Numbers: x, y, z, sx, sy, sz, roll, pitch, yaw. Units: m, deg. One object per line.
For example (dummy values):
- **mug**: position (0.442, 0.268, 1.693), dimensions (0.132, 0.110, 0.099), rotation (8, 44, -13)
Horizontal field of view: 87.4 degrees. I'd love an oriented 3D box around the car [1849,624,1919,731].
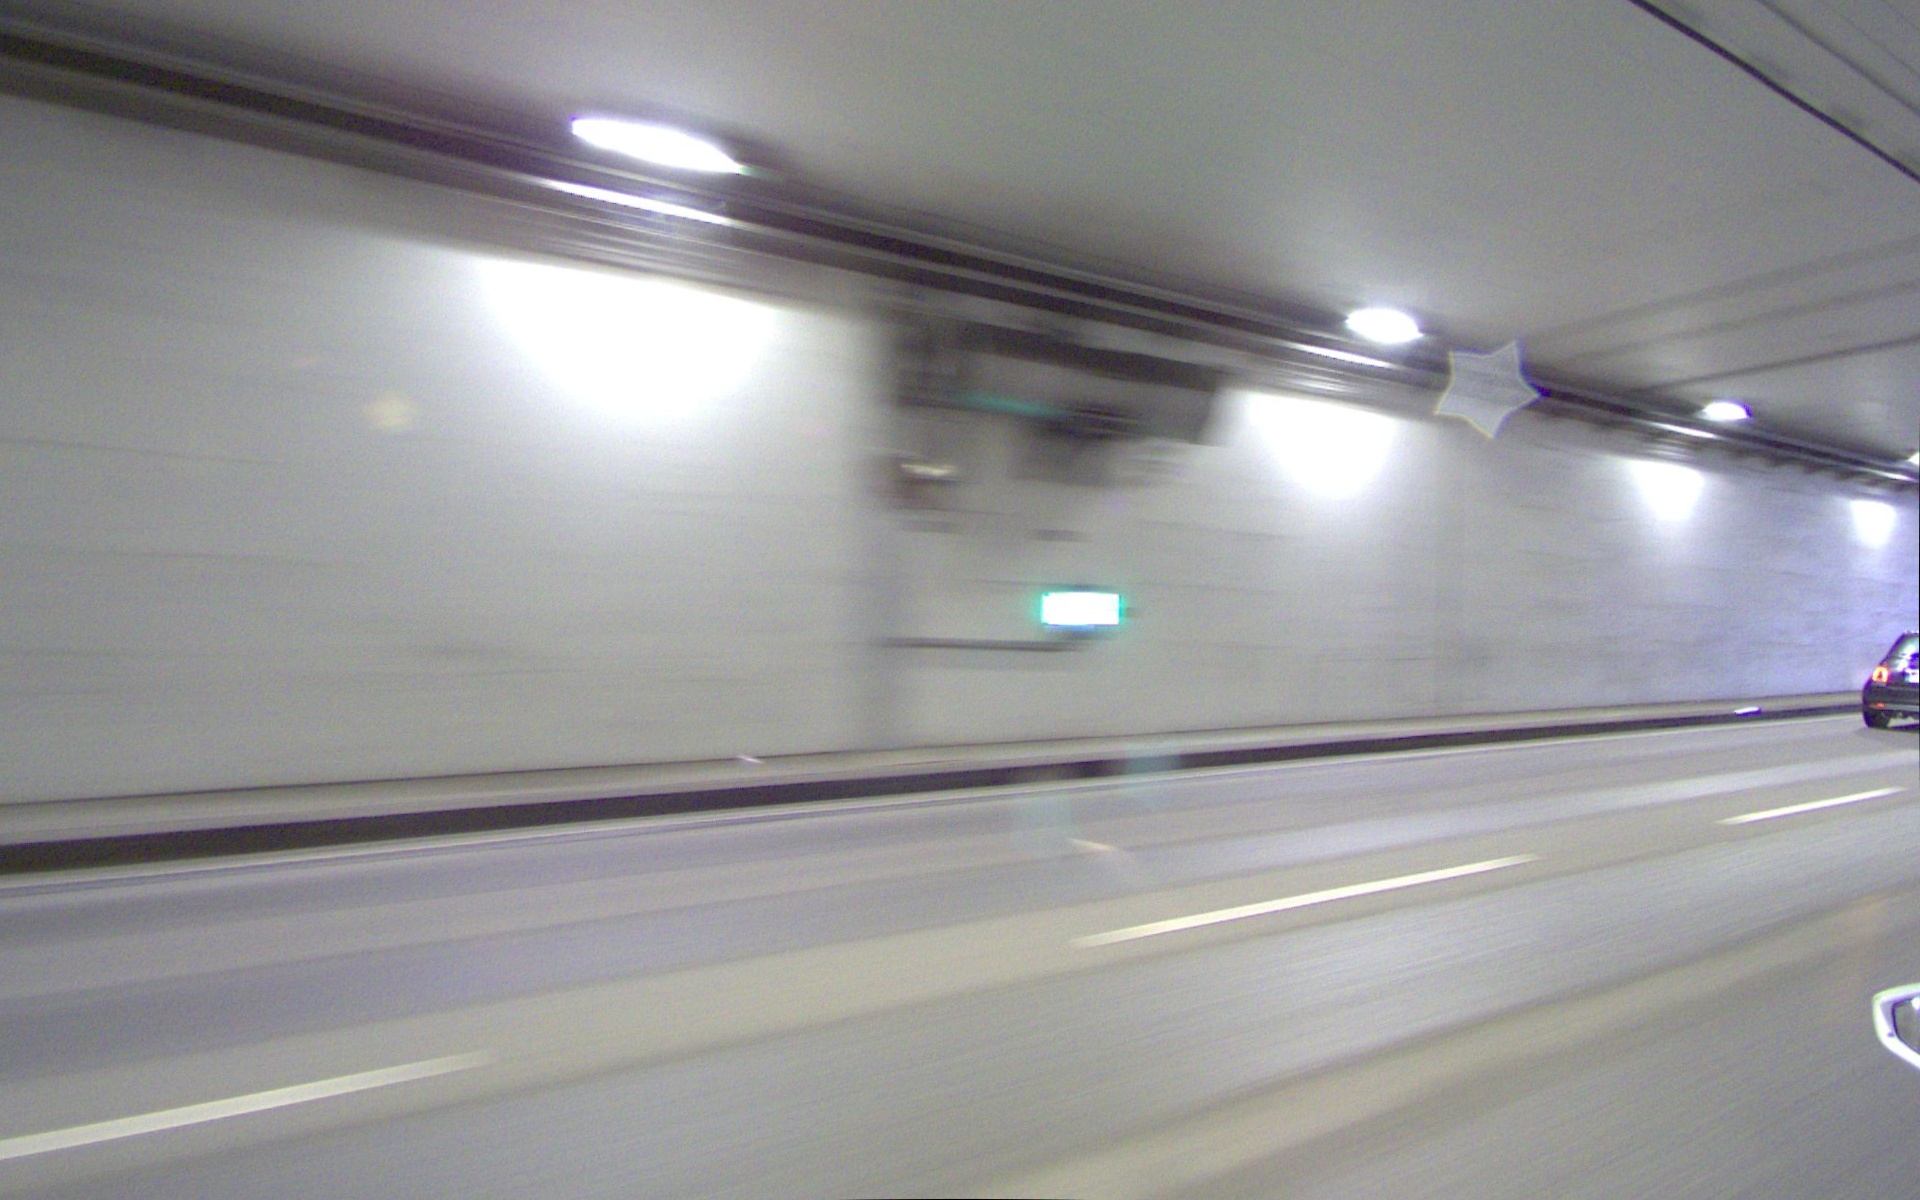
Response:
- **car**: position (14.864, 1.122, 14.858), dimensions (3.532, 1.474, 1.603), rotation (1, 0, -32)
